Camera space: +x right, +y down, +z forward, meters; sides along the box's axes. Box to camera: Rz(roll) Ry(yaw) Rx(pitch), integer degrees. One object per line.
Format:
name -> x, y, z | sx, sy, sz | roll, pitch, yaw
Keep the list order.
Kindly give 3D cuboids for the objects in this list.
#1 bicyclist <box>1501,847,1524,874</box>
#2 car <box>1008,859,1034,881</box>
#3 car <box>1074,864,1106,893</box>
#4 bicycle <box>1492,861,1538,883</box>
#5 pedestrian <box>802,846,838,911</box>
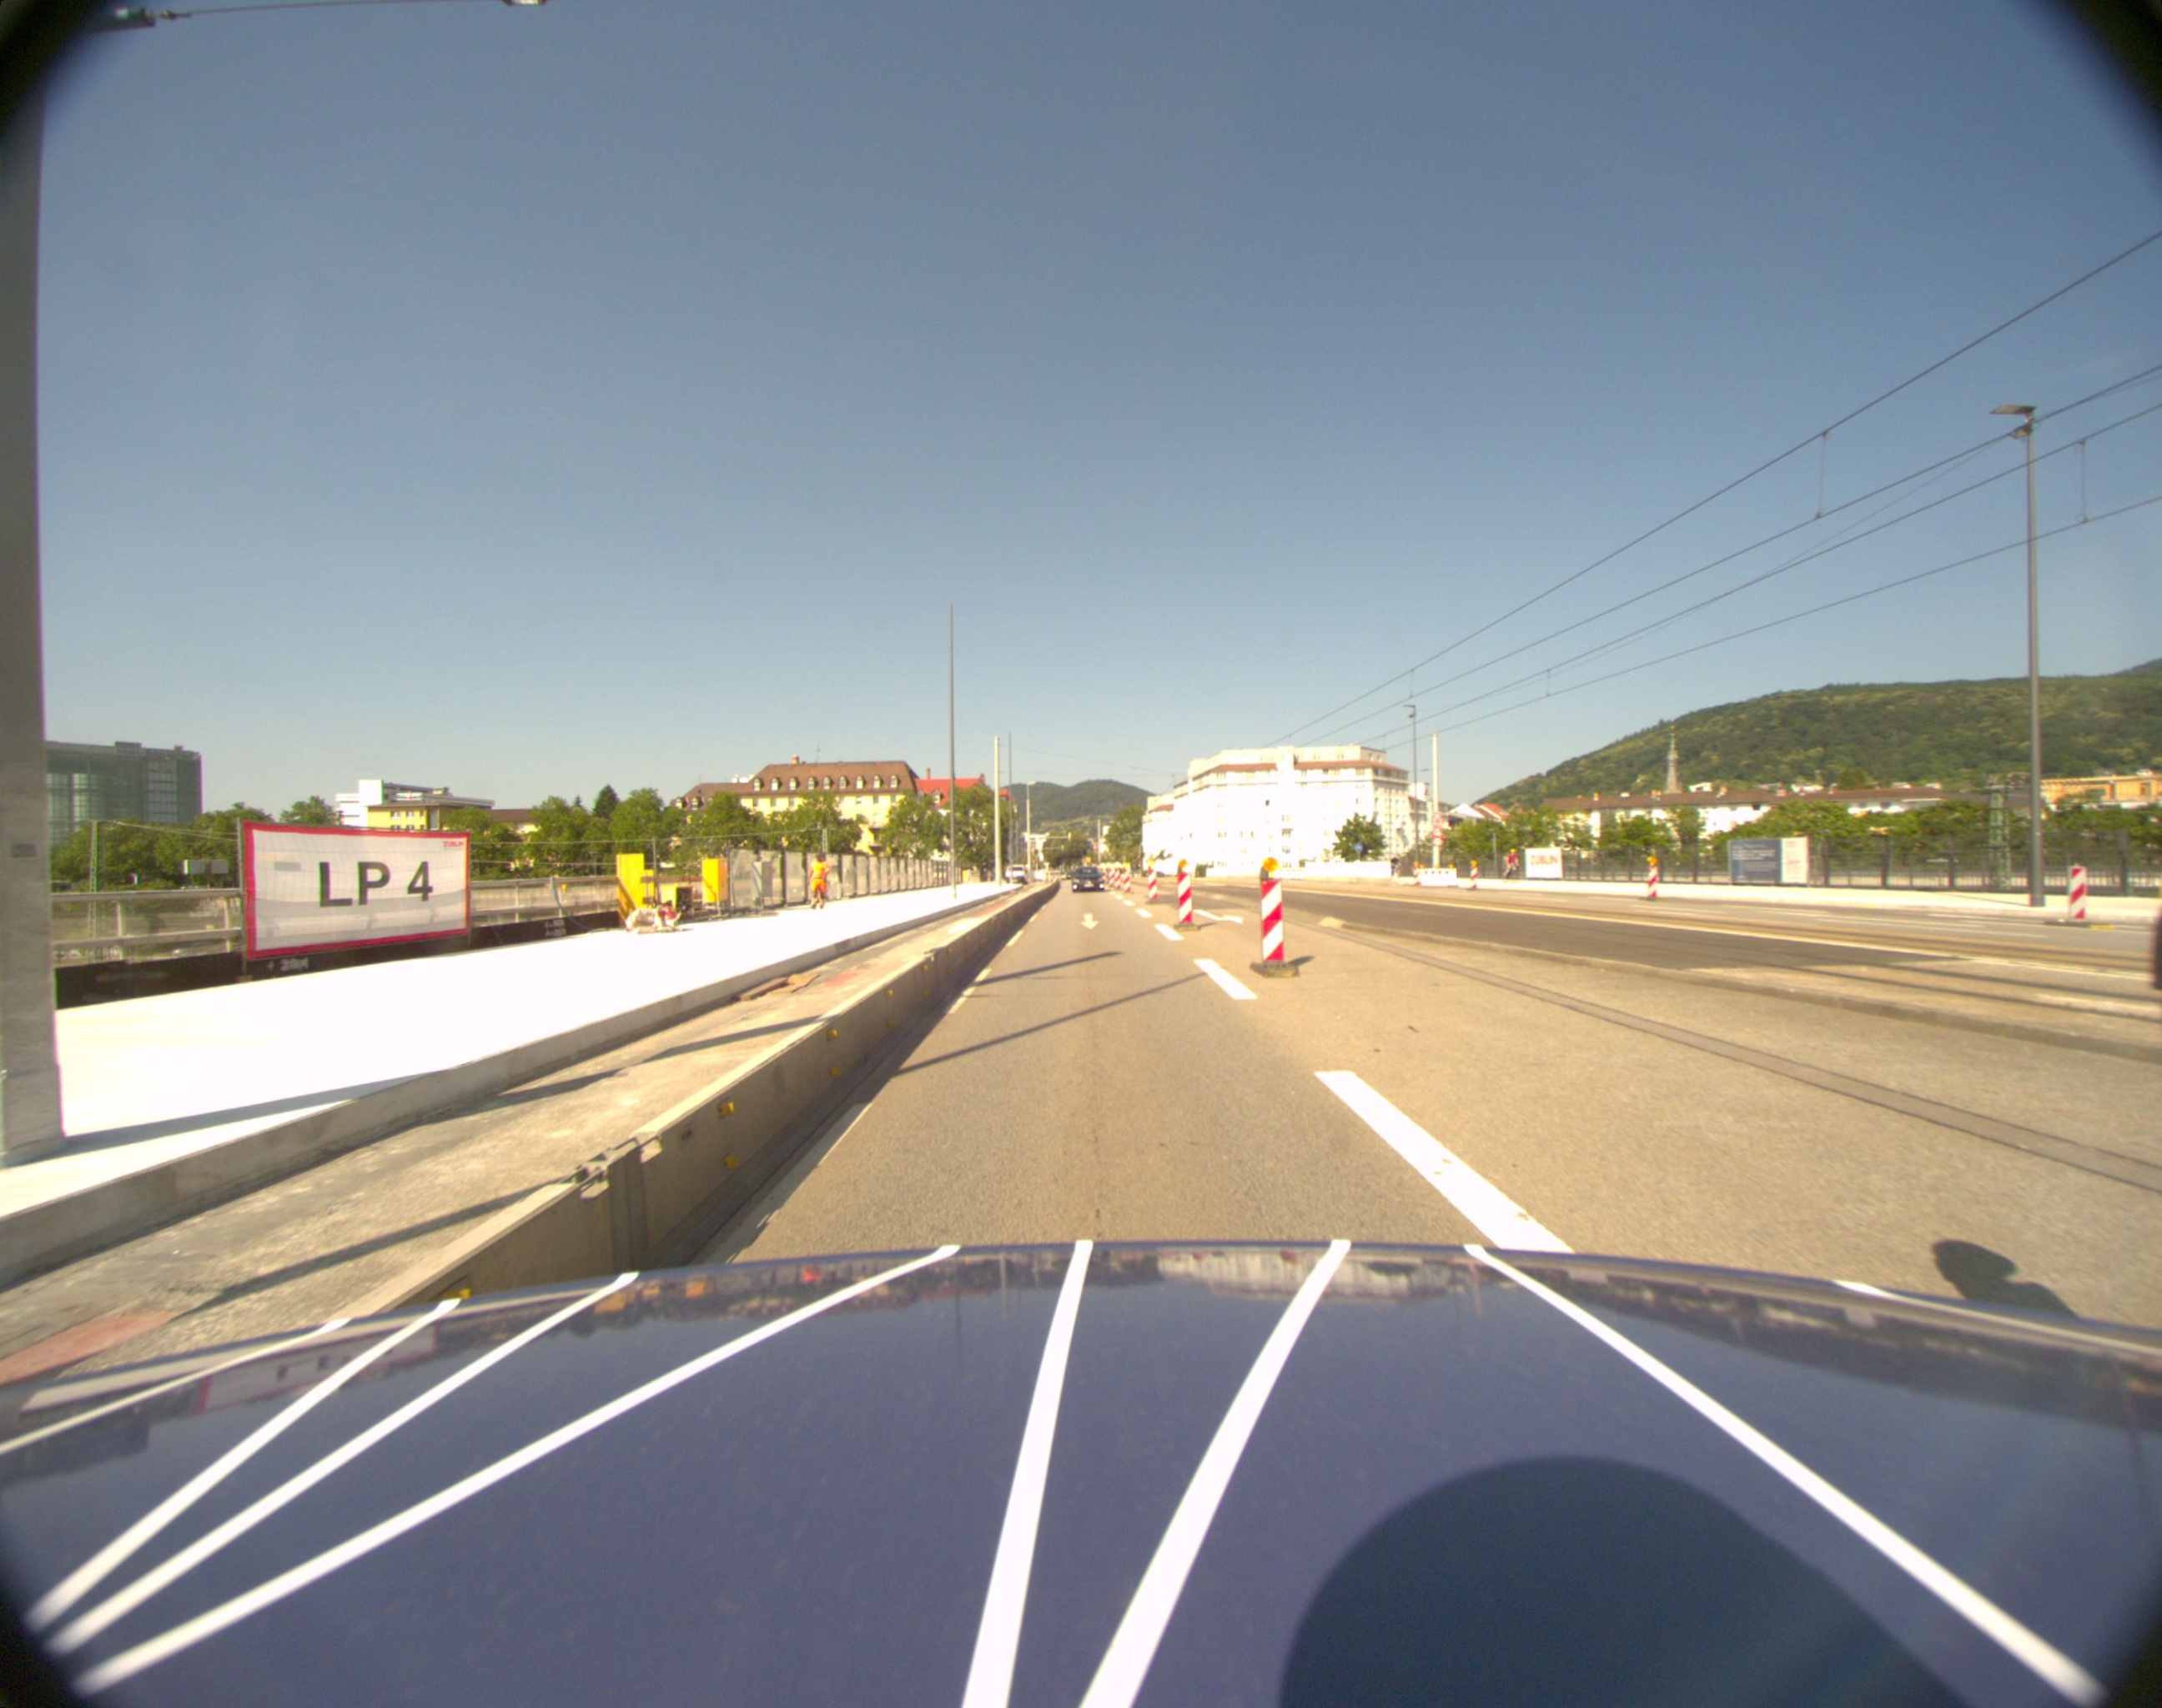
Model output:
bicyclist -> 25.221, 0.395, 44.411 | 0.858, 1.510, 0.817 | -2, 0, -1
car -> -6.095, 1.650, 77.560 | 1.938, 2.077, 6.472 | -1, -1, 2
car -> 0.477, 1.354, 43.290 | 1.698, 1.388, 4.362 | -3, 0, 0
bicycle -> 25.257, 1.043, 44.280 | 0.858, 1.187, 3.072 | -2, 0, -1
pedestrian -> -7.938, 0.734, 23.151 | 0.733, 1.953, 1.016 | 0, 0, 0
